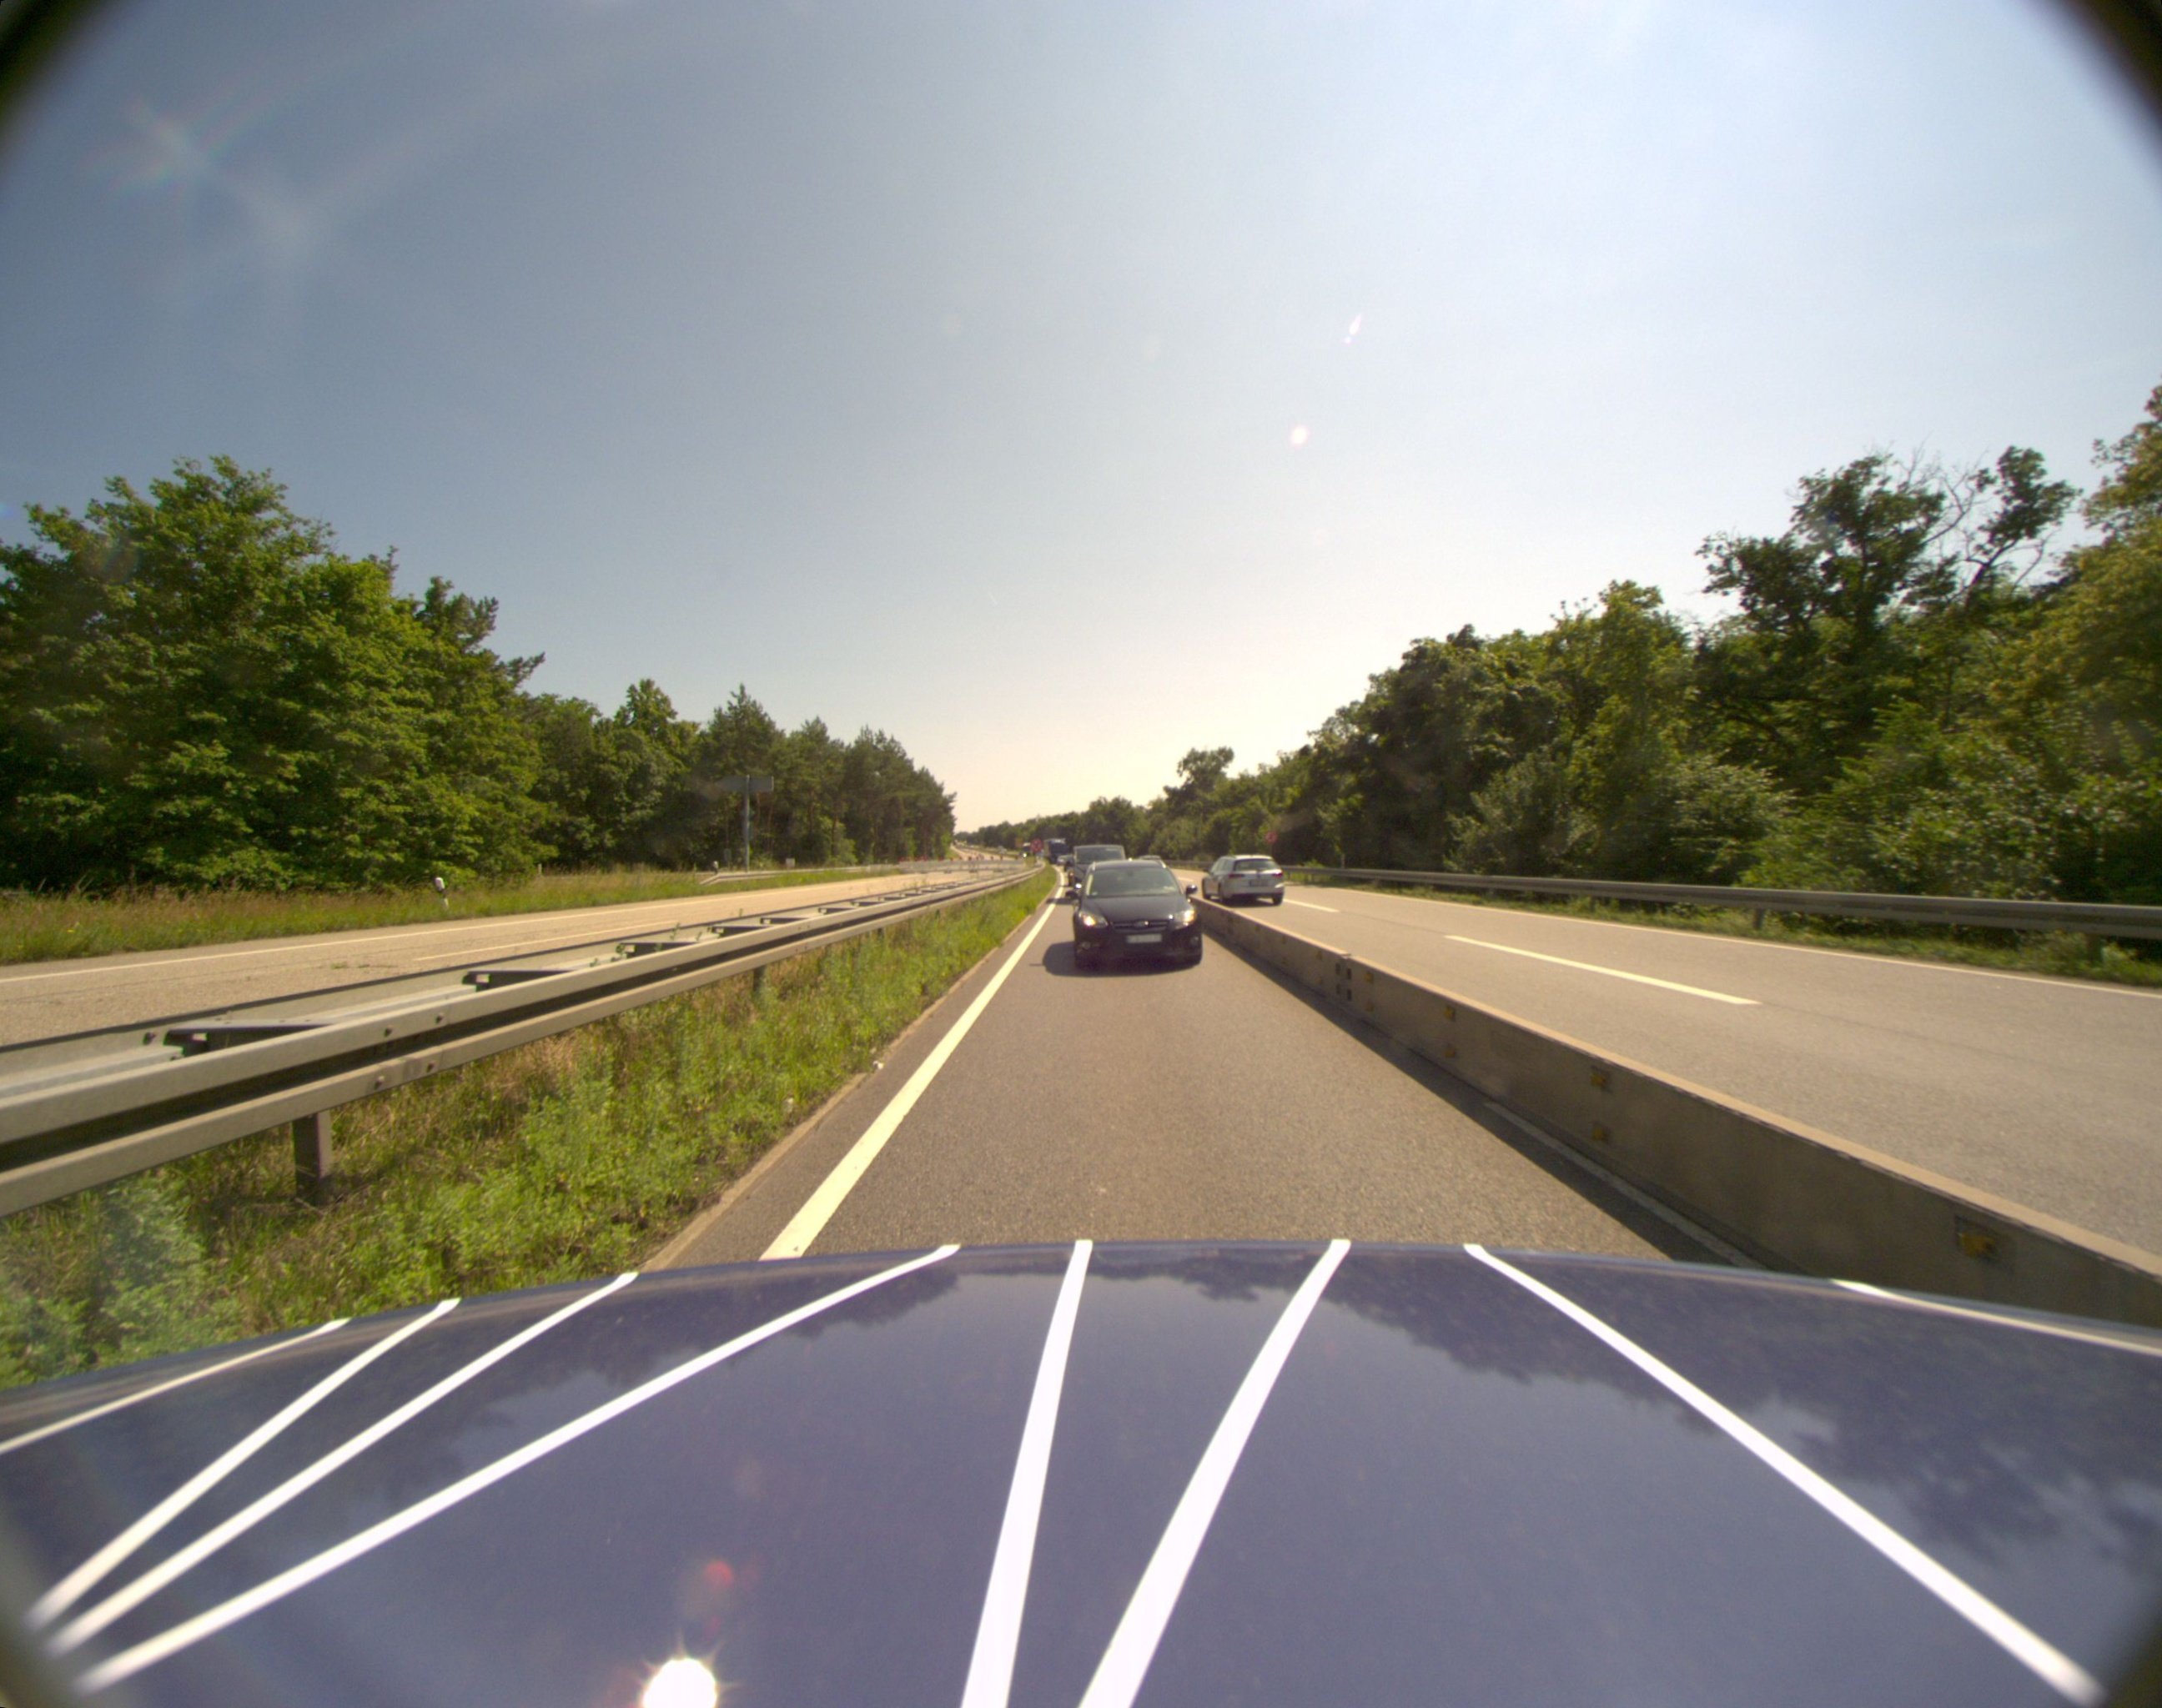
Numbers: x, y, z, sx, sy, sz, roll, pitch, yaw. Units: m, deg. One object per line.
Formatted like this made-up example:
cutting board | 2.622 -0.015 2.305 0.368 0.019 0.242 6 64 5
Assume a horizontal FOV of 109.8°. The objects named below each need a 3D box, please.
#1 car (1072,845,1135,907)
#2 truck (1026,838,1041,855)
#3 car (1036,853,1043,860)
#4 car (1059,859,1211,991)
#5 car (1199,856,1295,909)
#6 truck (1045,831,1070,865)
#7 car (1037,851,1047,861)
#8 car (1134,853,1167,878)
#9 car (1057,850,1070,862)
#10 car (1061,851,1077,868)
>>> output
car | 0.702 0.671 26.719 1.959 1.901 4.934 -2 1 0
truck | -12.725 -1.944 202.470 3.831 4.265 11.240 -1 0 -5
car | -8.886 0.533 163.365 1.527 1.647 3.980 0 0 -2
car | 0.716 0.907 11.934 1.846 1.537 4.935 -2 0 1
car | 4.978 0.801 23.415 1.954 1.413 4.353 -2 0 0
truck | -4.003 -1.013 126.207 3.830 5.266 11.243 -1 0 -3
car | -7.524 0.394 146.398 1.527 1.648 3.976 -7 4 -5
car | 4.467 0.727 49.173 1.826 1.473 4.257 -2 0 1
car | -2.512 0.323 109.038 1.528 1.647 3.752 0 0 -5
car | -1.246 0.546 75.807 1.527 1.647 3.979 0 0 -2
